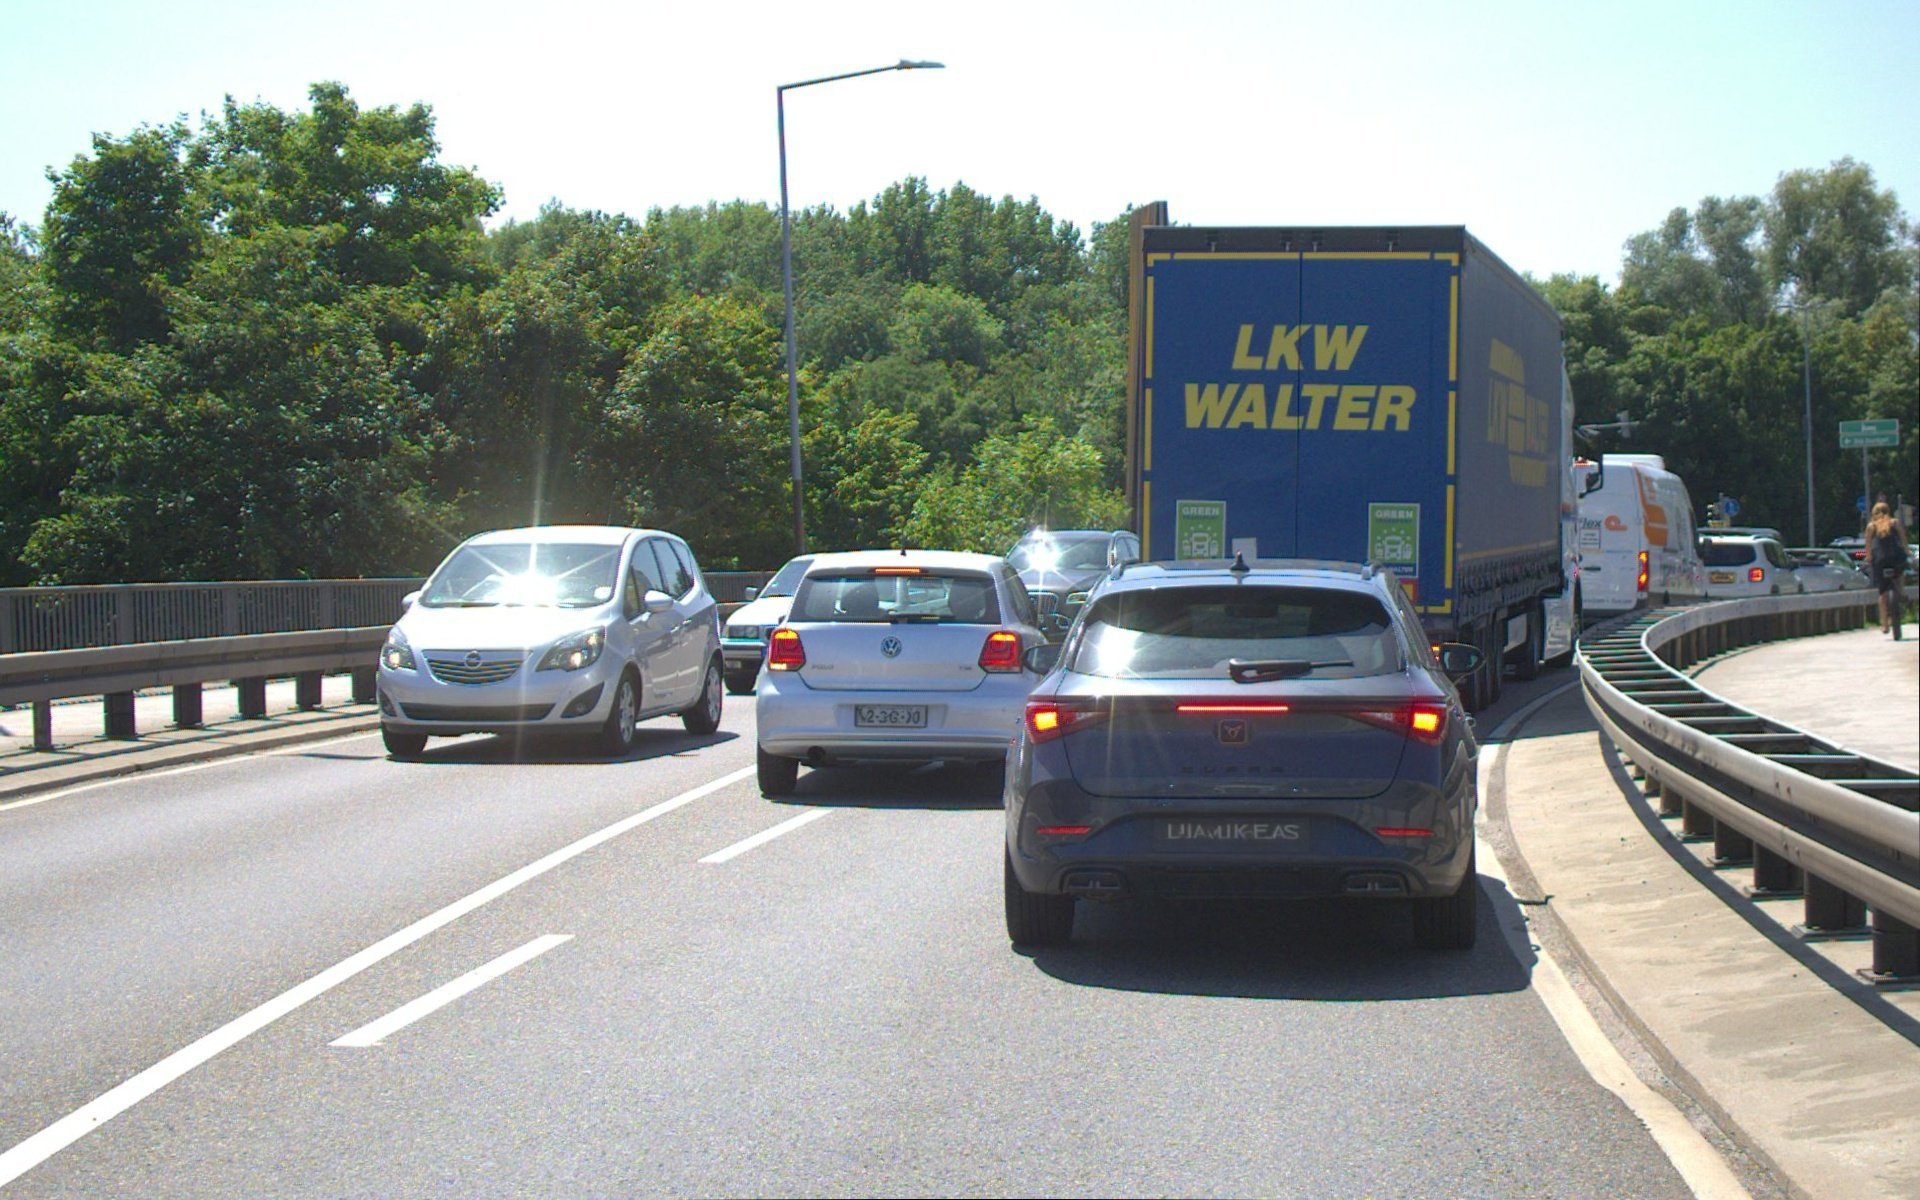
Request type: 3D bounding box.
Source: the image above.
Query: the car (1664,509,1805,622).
[{"bbox_3d":[13.257,-0.620,58.711,1.723,1.837,3.996,1,2,22],"label":"car"}]

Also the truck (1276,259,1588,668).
[{"bbox_3d":[5.700,-1.565,40.581,2.906,4.403,6.551,1,1,14],"label":"truck"}]

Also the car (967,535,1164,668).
[{"bbox_3d":[1.424,-0.018,44.678,1.802,1.635,4.298,0,1,12],"label":"car"}]

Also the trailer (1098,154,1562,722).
[{"bbox_3d":[3.944,-1.406,33.042,2.906,4.403,12.426,1,1,13],"label":"trailer"}]

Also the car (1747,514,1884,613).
[{"bbox_3d":[16.217,-0.721,65.052,1.723,1.796,3.995,1,2,26],"label":"car"}]

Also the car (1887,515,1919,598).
[{"bbox_3d":[22.464,-1.001,78.493,1.723,1.837,3.994,1,2,27],"label":"car"}]

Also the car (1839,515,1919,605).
[{"bbox_3d":[19.935,-0.870,72.775,1.723,1.837,3.994,1,2,27],"label":"car"}]

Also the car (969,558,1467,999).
[{"bbox_3d":[1.129,0.575,13.630,1.677,1.451,3.957,1,1,8],"label":"car"}]

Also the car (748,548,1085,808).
[{"bbox_3d":[-0.181,0.411,21.527,1.677,1.406,3.974,1,1,5],"label":"car"}]

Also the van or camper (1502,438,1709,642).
[{"bbox_3d":[9.607,-0.903,50.759,2.156,2.806,6.381,1,1,18],"label":"van or camper"}]

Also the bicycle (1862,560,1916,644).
[{"bbox_3d":[11.963,0.018,44.251,0.582,1.032,1.483,-2,0,18],"label":"bicycle"}]

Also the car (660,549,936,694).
[{"bbox_3d":[-1.571,0.178,34.773,1.698,1.371,3.997,0,1,14],"label":"car"}]

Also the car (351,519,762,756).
[{"bbox_3d":[-2.830,0.212,25.053,1.737,1.574,4.175,0,1,12],"label":"car"}]

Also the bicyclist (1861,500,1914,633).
[{"bbox_3d":[11.929,-0.435,44.206,0.578,1.677,0.728,-2,0,17],"label":"bicyclist"}]
